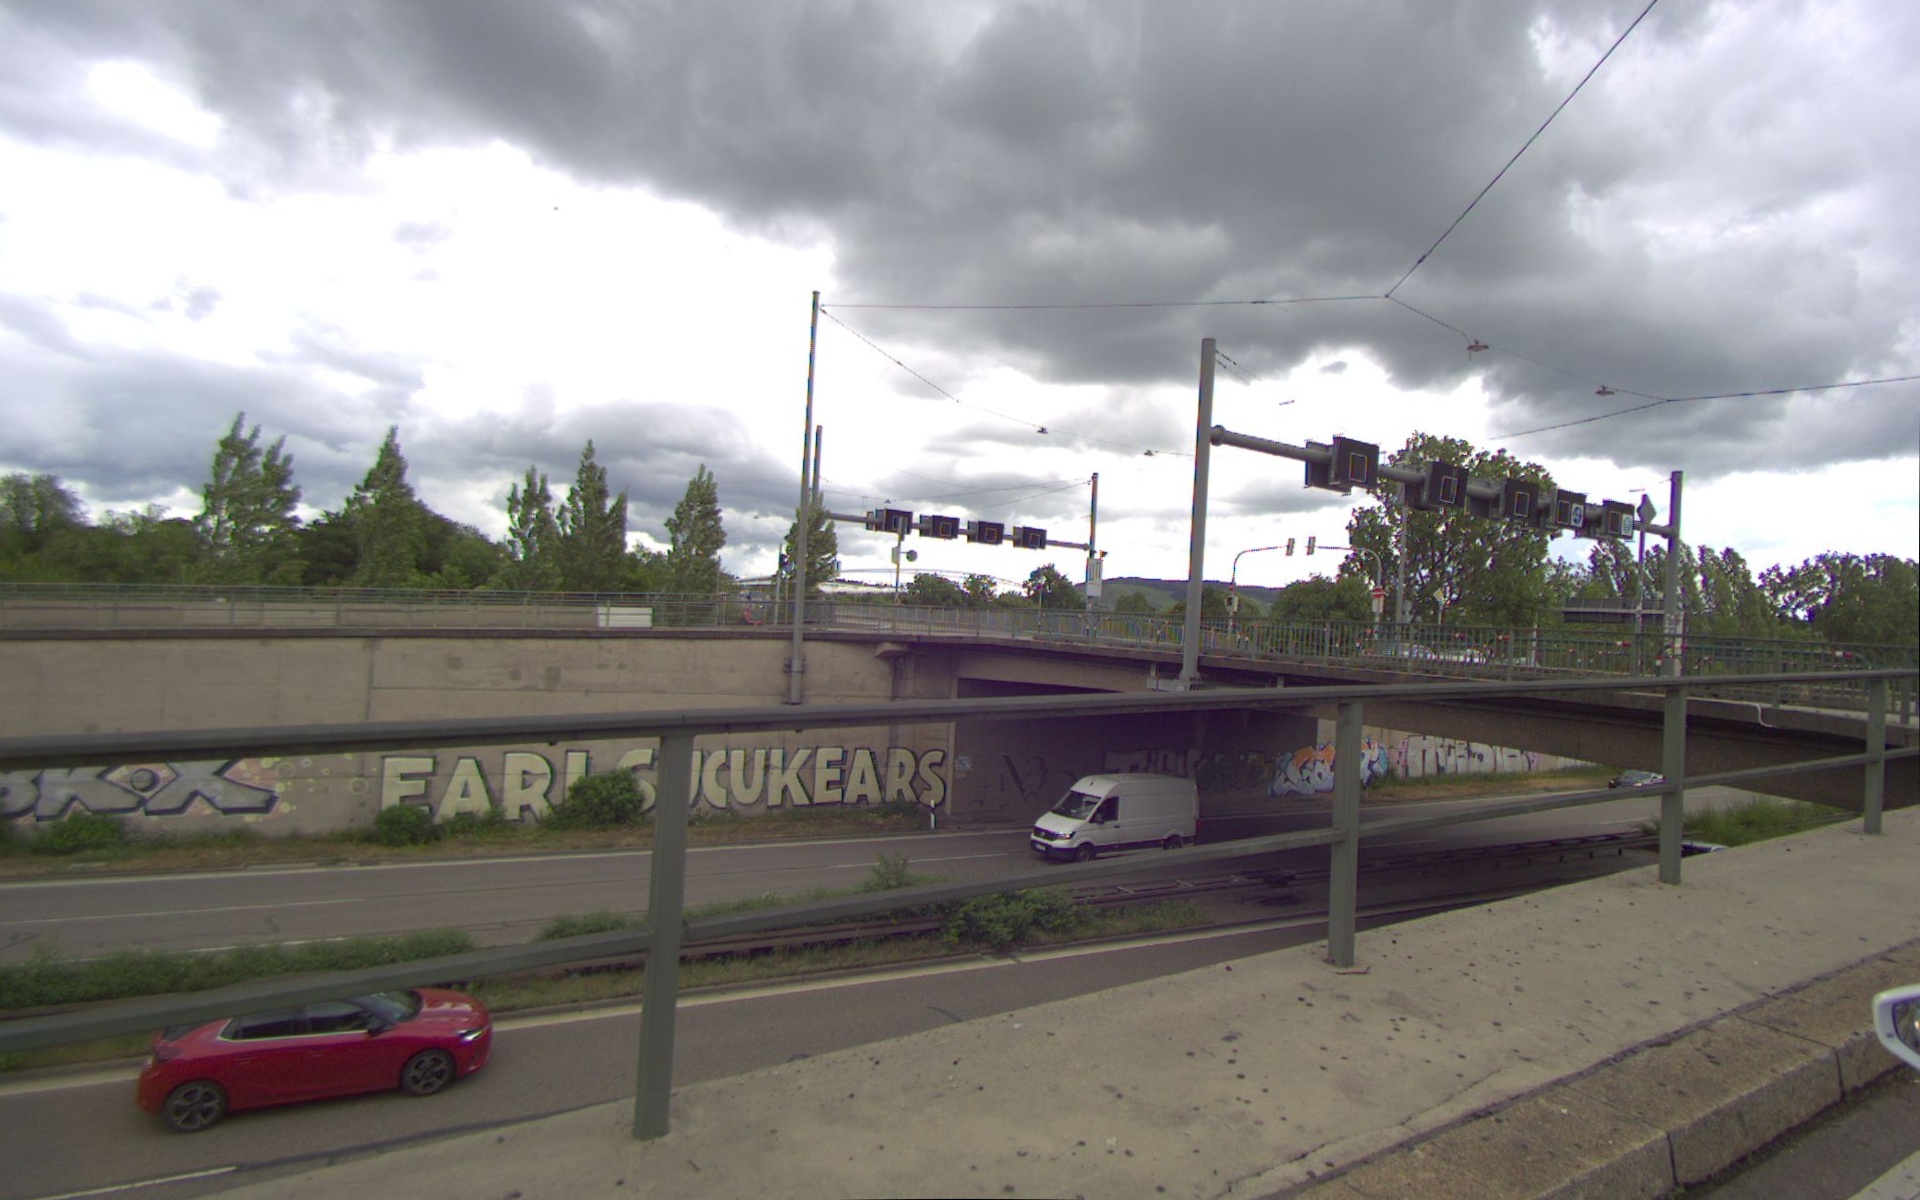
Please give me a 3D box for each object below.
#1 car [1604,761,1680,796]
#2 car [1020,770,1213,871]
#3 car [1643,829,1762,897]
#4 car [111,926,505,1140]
[{"bbox_3d":[39.306,10.228,57.863,4.581,1.673,1.851,5,-3,-30],"label":"car"},{"bbox_3d":[5.084,6.963,32.287,6.032,2.628,2.157,5,-3,-30],"label":"car"},{"bbox_3d":[23.578,8.286,31.883,3.565,1.553,1.685,4,-2,-29],"label":"car"},{"bbox_3d":[-8.547,5.677,13.621,4.133,1.599,1.822,4,-2,-29],"label":"car"}]
